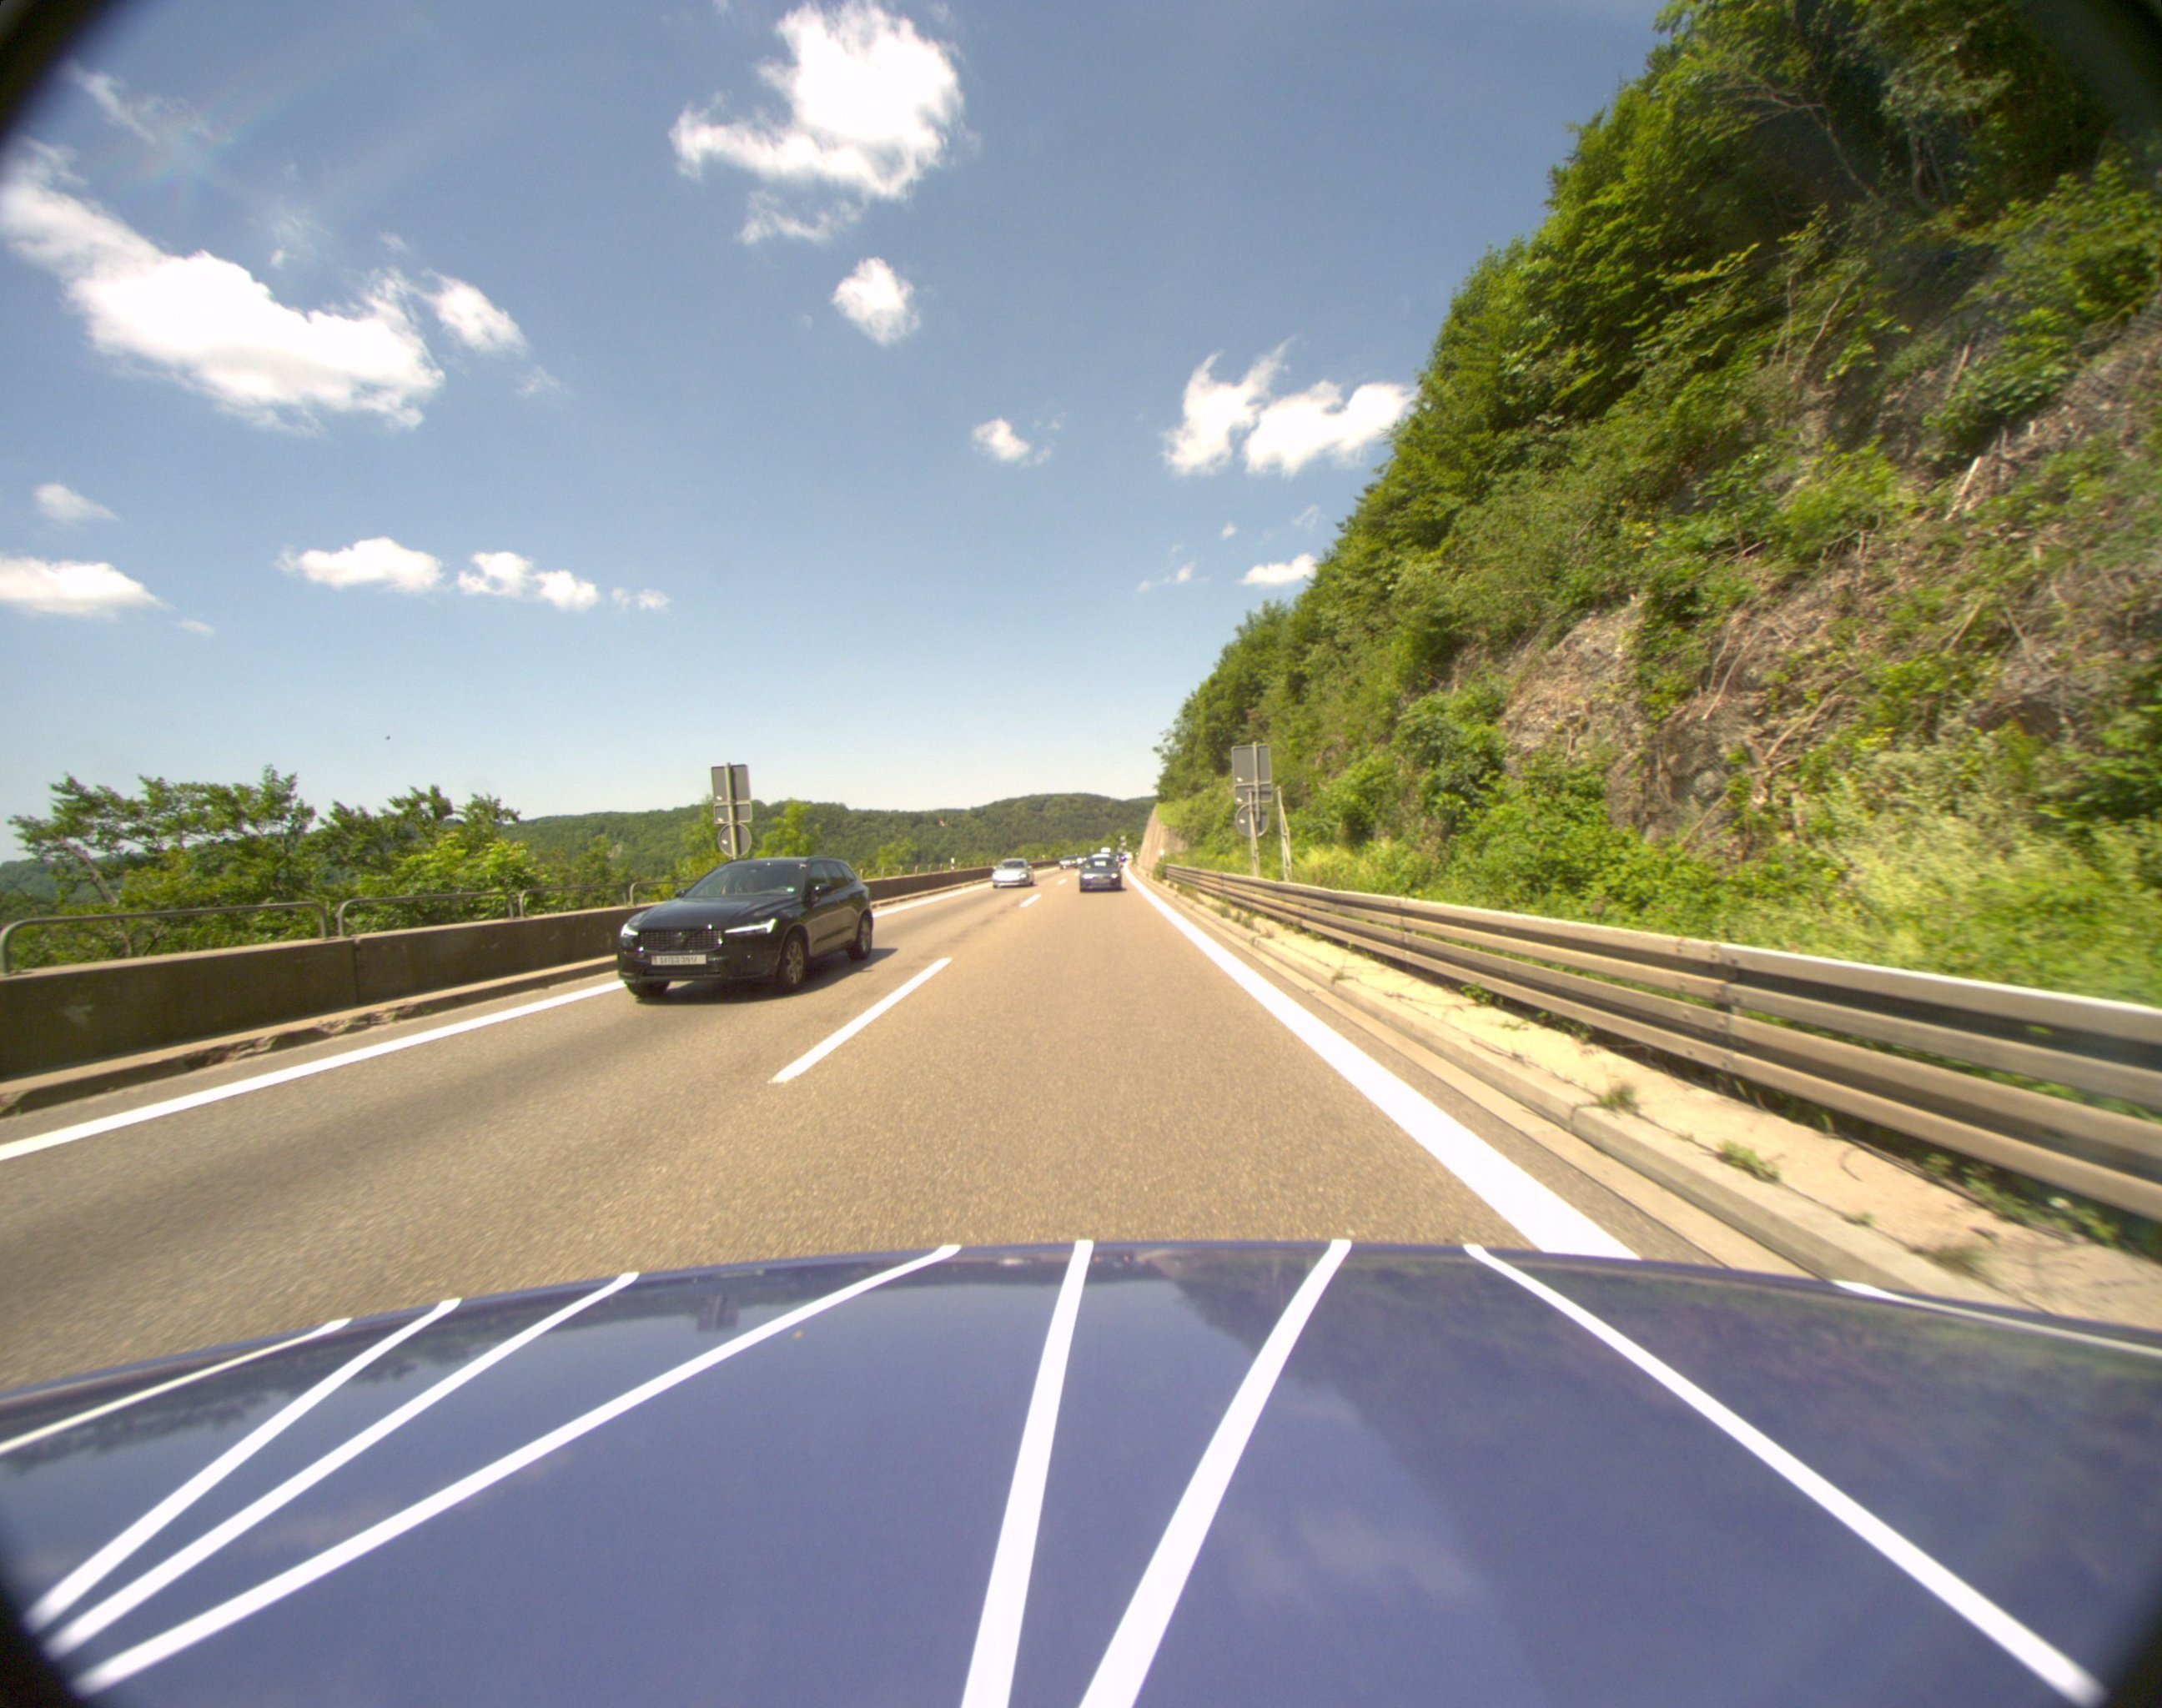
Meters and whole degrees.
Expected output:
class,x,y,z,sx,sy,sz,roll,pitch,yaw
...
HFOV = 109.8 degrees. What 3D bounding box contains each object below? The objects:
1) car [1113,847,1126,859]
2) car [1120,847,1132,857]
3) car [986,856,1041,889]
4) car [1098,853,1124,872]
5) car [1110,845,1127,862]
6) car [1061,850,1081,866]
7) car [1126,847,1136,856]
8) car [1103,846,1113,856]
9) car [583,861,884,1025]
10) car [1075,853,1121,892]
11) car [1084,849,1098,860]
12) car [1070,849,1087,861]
class,x,y,z,sx,sy,sz,roll,pitch,yaw
car,6.279,-0.195,125.257,1.998,2.002,4.000,-2,0,2
car,9.444,-0.519,158.078,1.997,2.002,4.002,-2,0,9
car,-3.375,0.904,38.751,1.972,1.370,4.294,-3,1,5
car,2.427,0.637,60.073,1.702,1.432,4.045,0,1,8
car,4.772,-0.081,96.592,1.998,2.002,4.000,-1,0,1
car,-1.089,0.416,83.149,1.875,1.565,4.000,-2,0,3
car,11.712,-0.606,177.796,1.997,2.002,4.002,-1,0,8
car,5.985,-0.674,168.277,1.997,2.002,4.002,-2,0,7
car,-4.268,0.962,10.354,1.839,1.624,4.662,-2,0,1
car,0.769,0.714,31.333,1.668,1.415,4.044,-1,1,4
car,1.554,0.039,120.277,1.775,1.565,4.001,-2,0,6
car,-0.286,0.074,102.726,1.775,1.565,4.001,-2,0,6
